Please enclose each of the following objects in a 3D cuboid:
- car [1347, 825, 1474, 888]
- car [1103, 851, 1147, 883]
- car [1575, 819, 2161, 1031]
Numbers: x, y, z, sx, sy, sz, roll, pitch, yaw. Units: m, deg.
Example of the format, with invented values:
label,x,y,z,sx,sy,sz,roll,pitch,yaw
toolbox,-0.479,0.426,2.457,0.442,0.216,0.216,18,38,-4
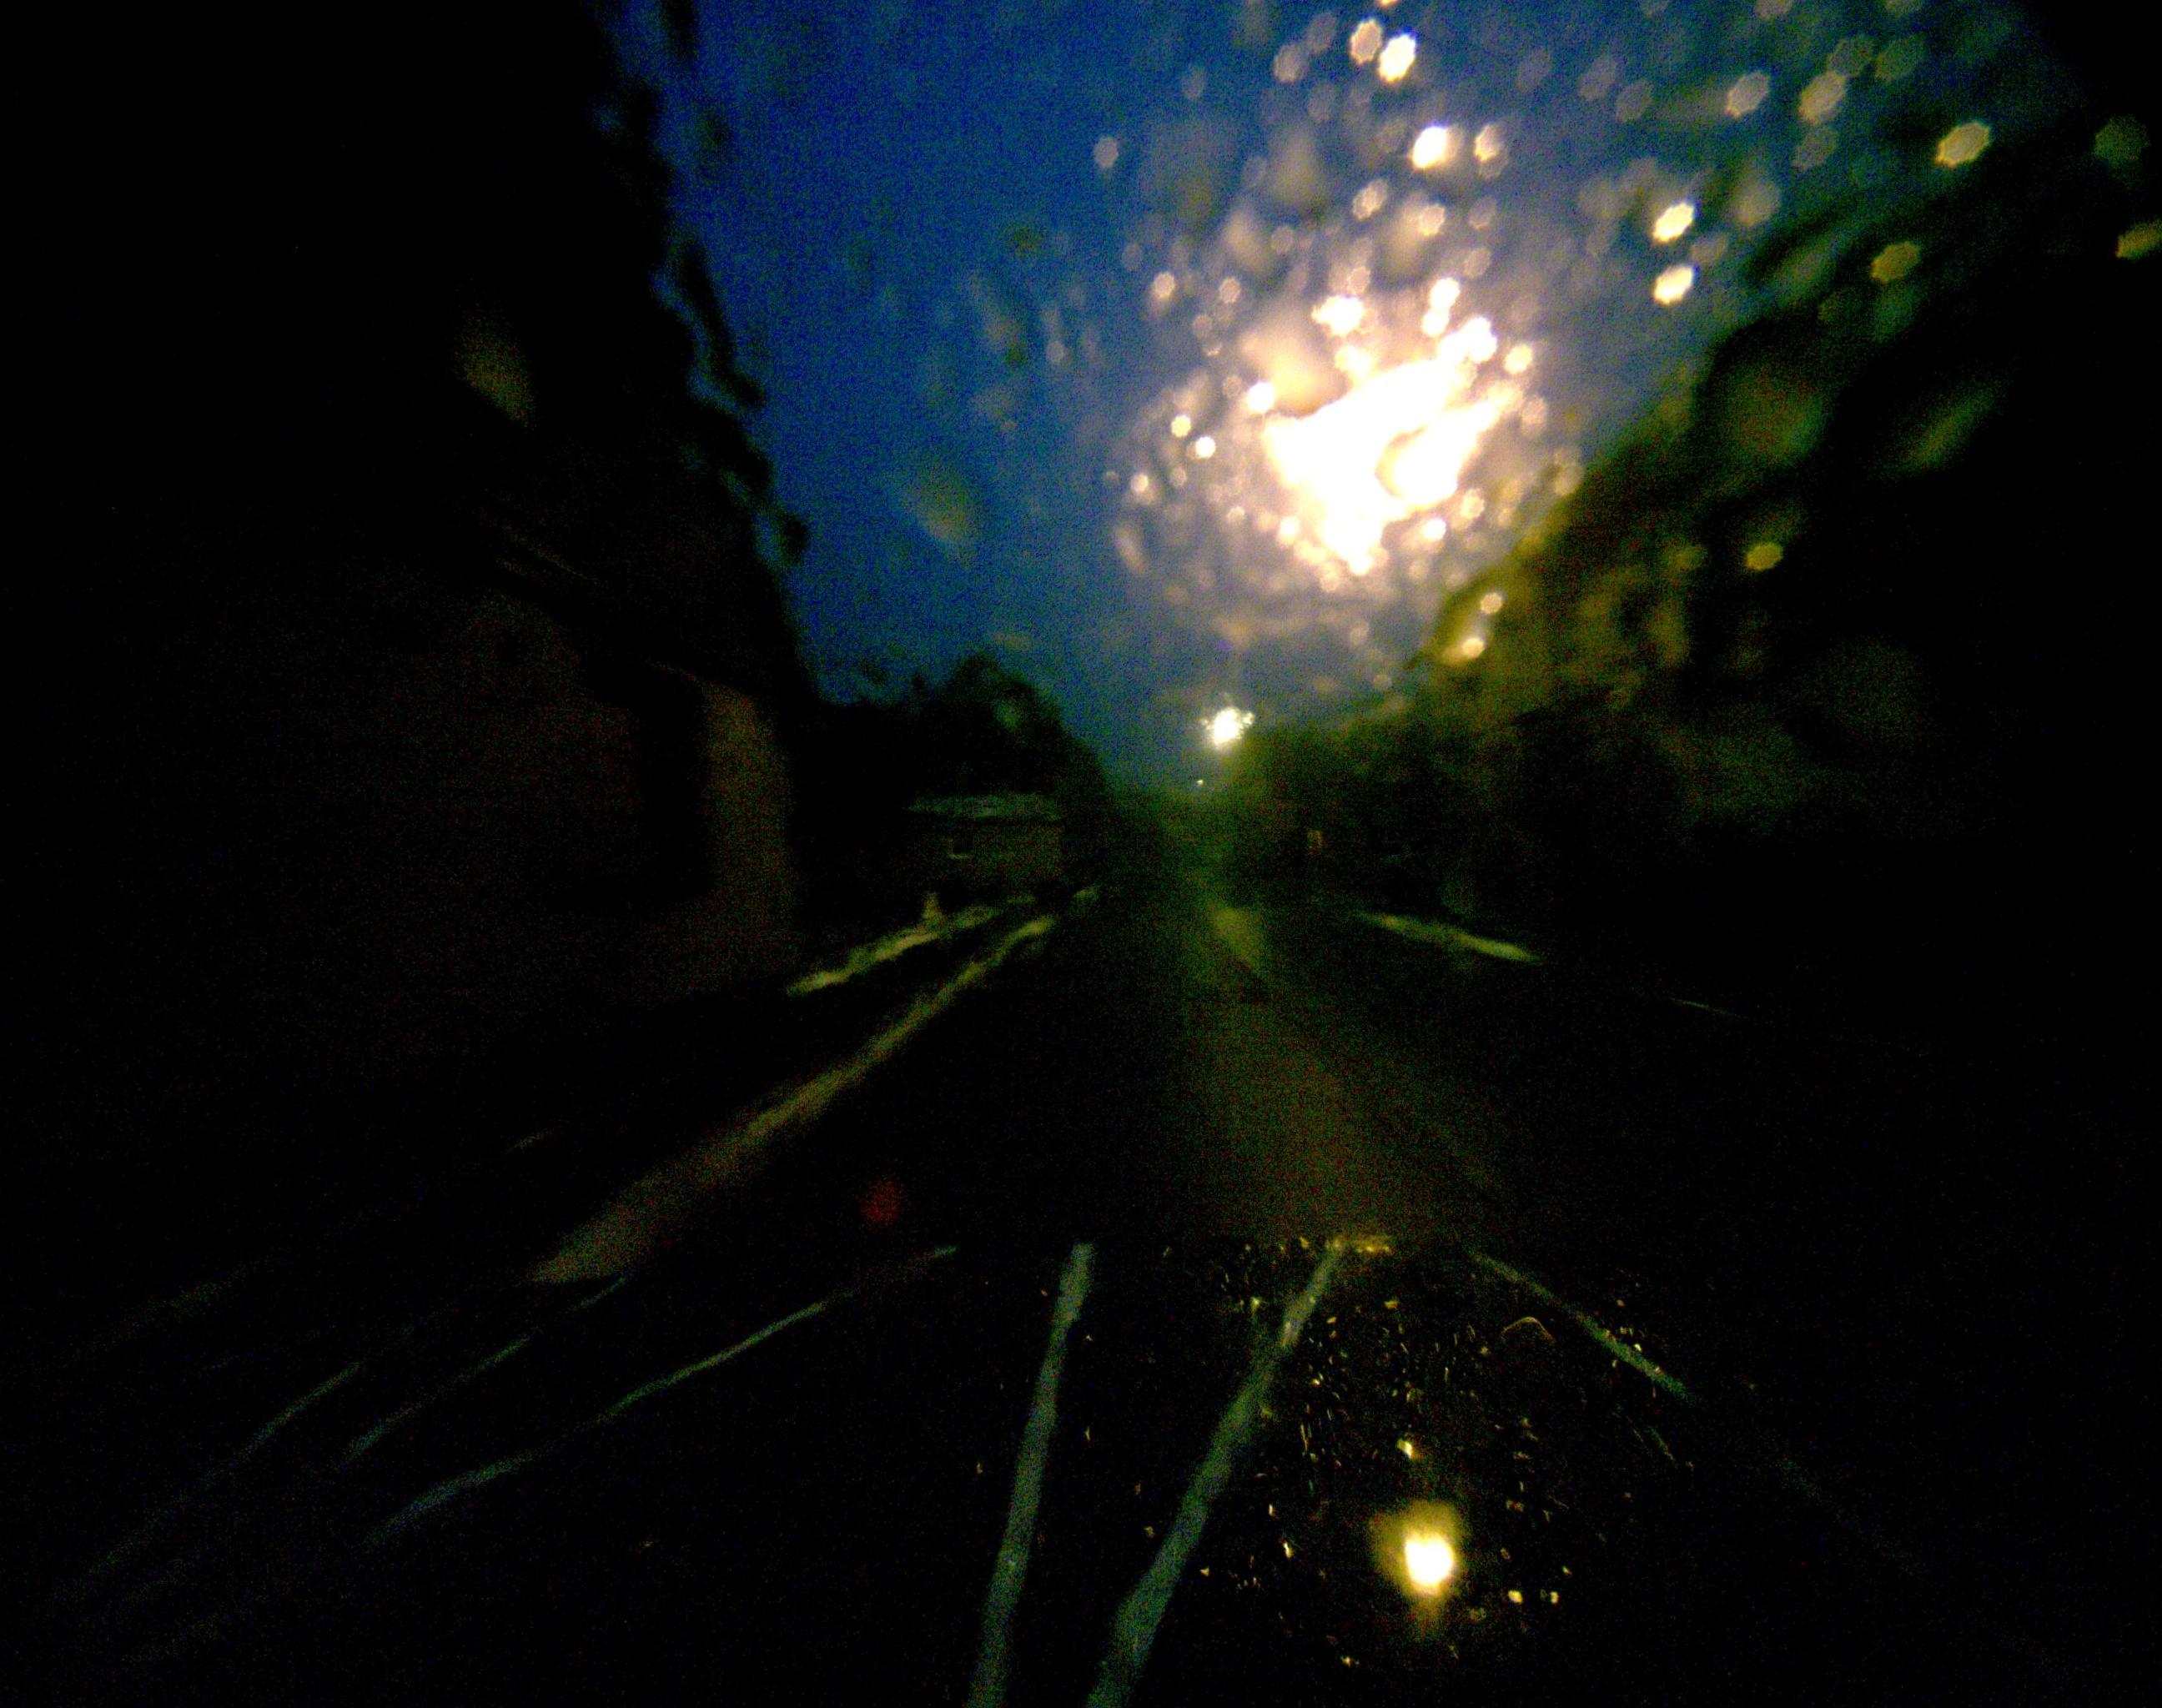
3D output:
label,x,y,z,sx,sy,sz,roll,pitch,yaw
car,10.743,0.154,25.206,1.769,1.725,4.639,-6,-2,-4
car,2.369,0.636,39.656,1.914,1.472,4.284,-1,1,8
car,7.473,0.566,7.869,1.998,1.513,4.191,-3,-1,2
